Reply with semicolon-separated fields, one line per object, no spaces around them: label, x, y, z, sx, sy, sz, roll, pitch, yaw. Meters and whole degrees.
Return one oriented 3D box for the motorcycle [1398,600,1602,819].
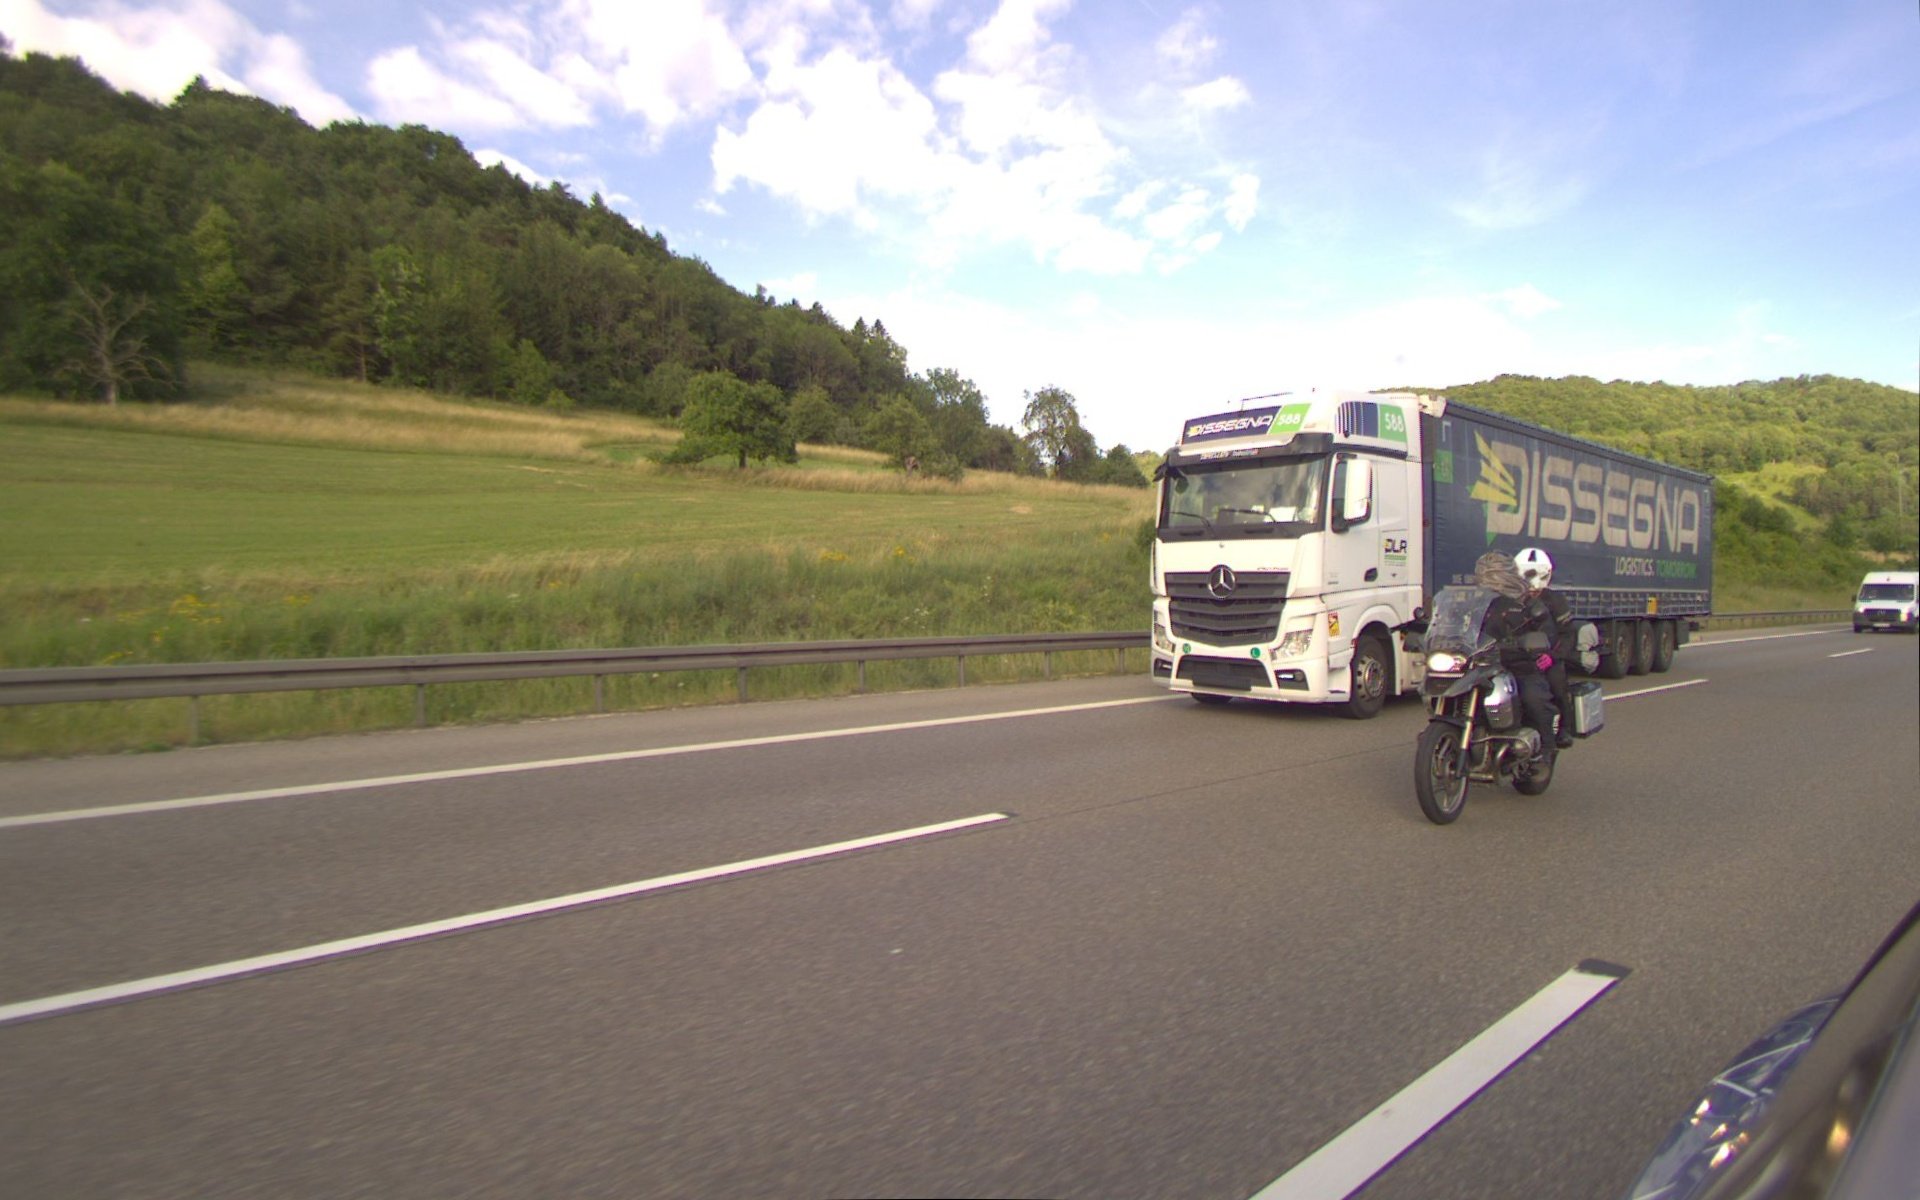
motorcycle;3.814;0.682;7.096;1.707;1.356;0.629;0;0;-38

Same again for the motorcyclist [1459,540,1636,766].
motorcyclist;4.320;0.357;7.462;0.782;1.534;0.879;0;0;-36

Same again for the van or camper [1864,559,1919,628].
van or camper;40.928;-0.260;43.433;7.386;2.752;1.998;0;0;-39

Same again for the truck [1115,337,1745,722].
truck;9.526;-0.790;17.455;17.420;4.042;2.970;0;0;-41

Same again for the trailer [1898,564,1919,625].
trailer;45.574;-0.258;47.165;5.153;2.760;1.998;0;0;-38
